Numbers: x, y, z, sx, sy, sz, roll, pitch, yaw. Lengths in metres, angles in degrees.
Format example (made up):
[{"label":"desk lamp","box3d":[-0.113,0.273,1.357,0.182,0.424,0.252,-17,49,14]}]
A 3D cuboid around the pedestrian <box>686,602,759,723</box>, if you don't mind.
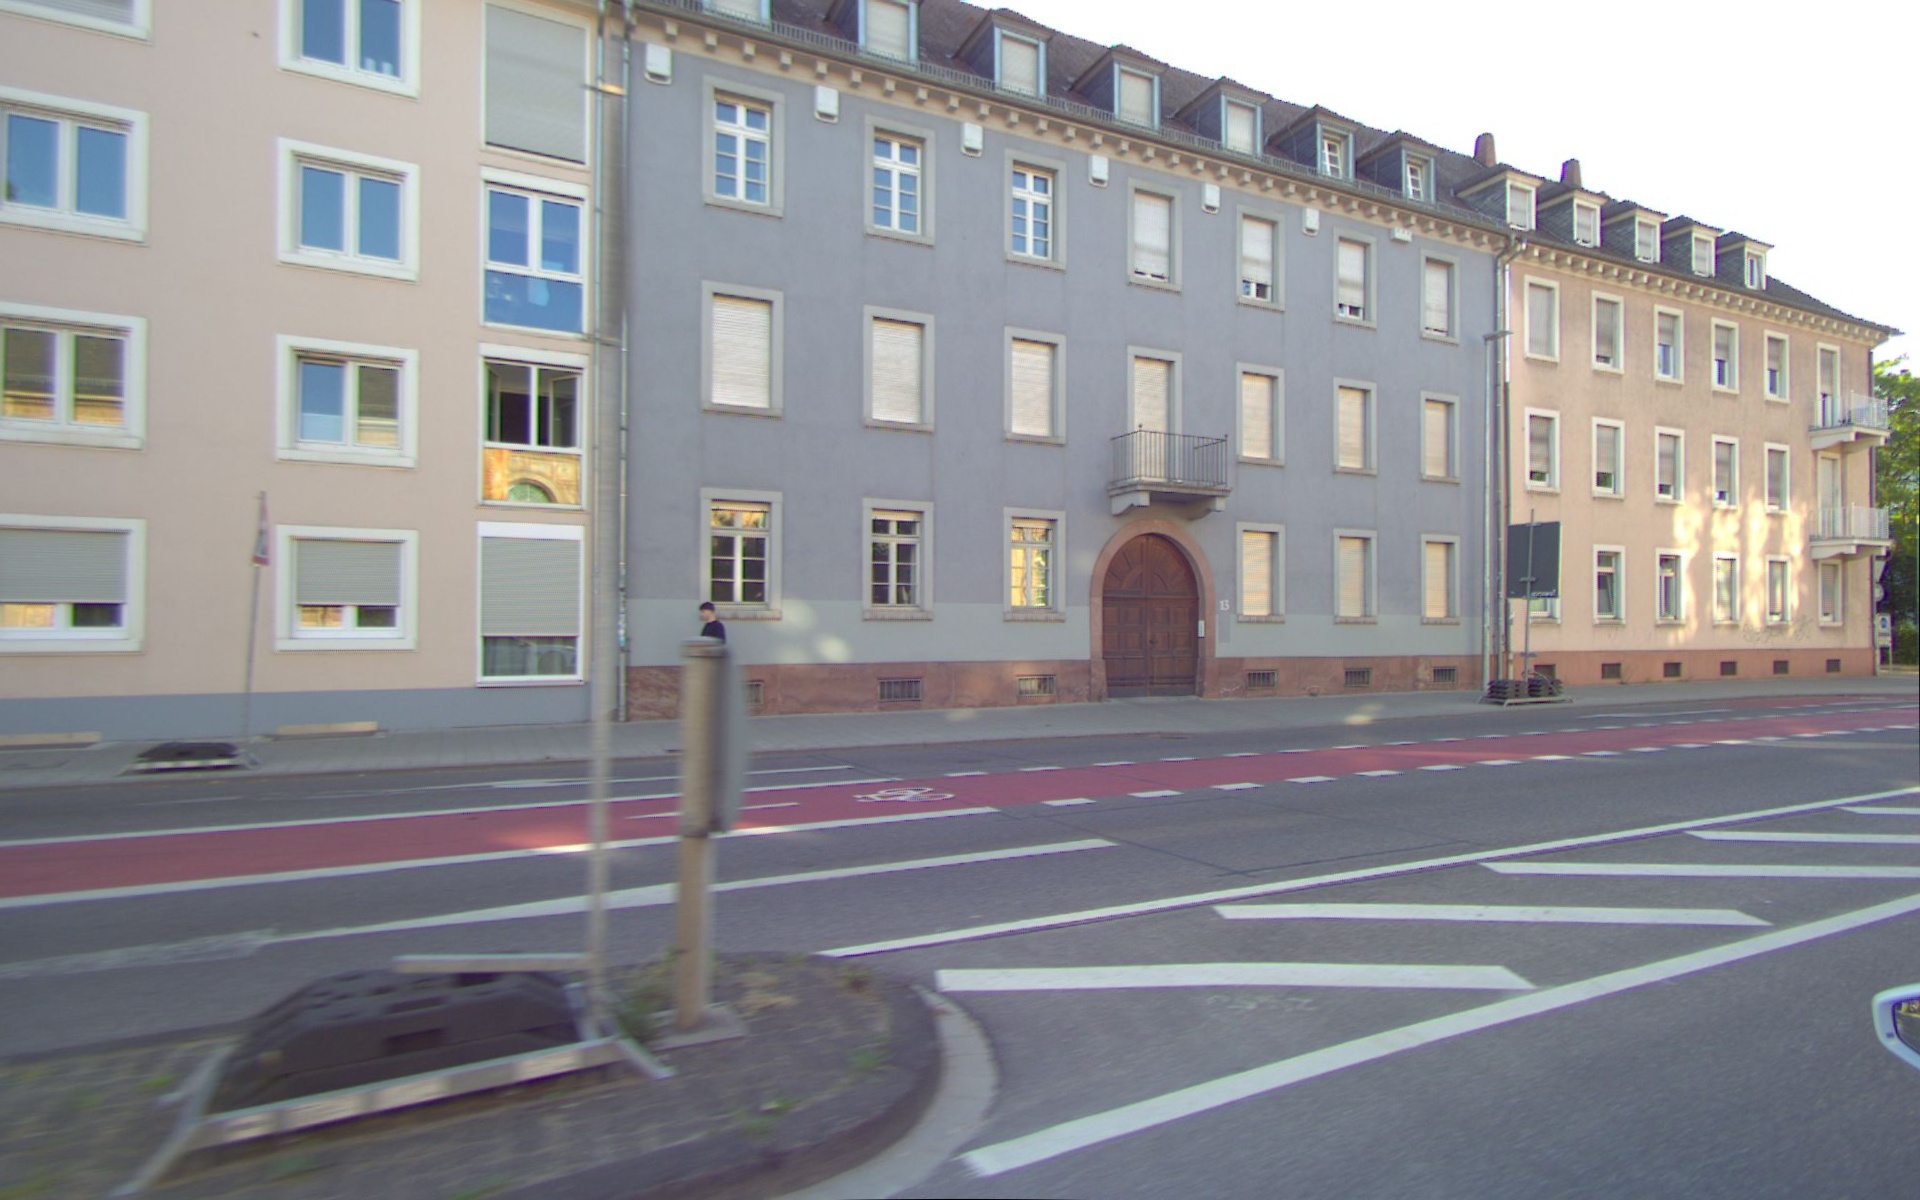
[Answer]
[{"label":"pedestrian","box3d":[-3.807,0.983,16.101,1.000,1.871,0.629,1,1,-27]}]
